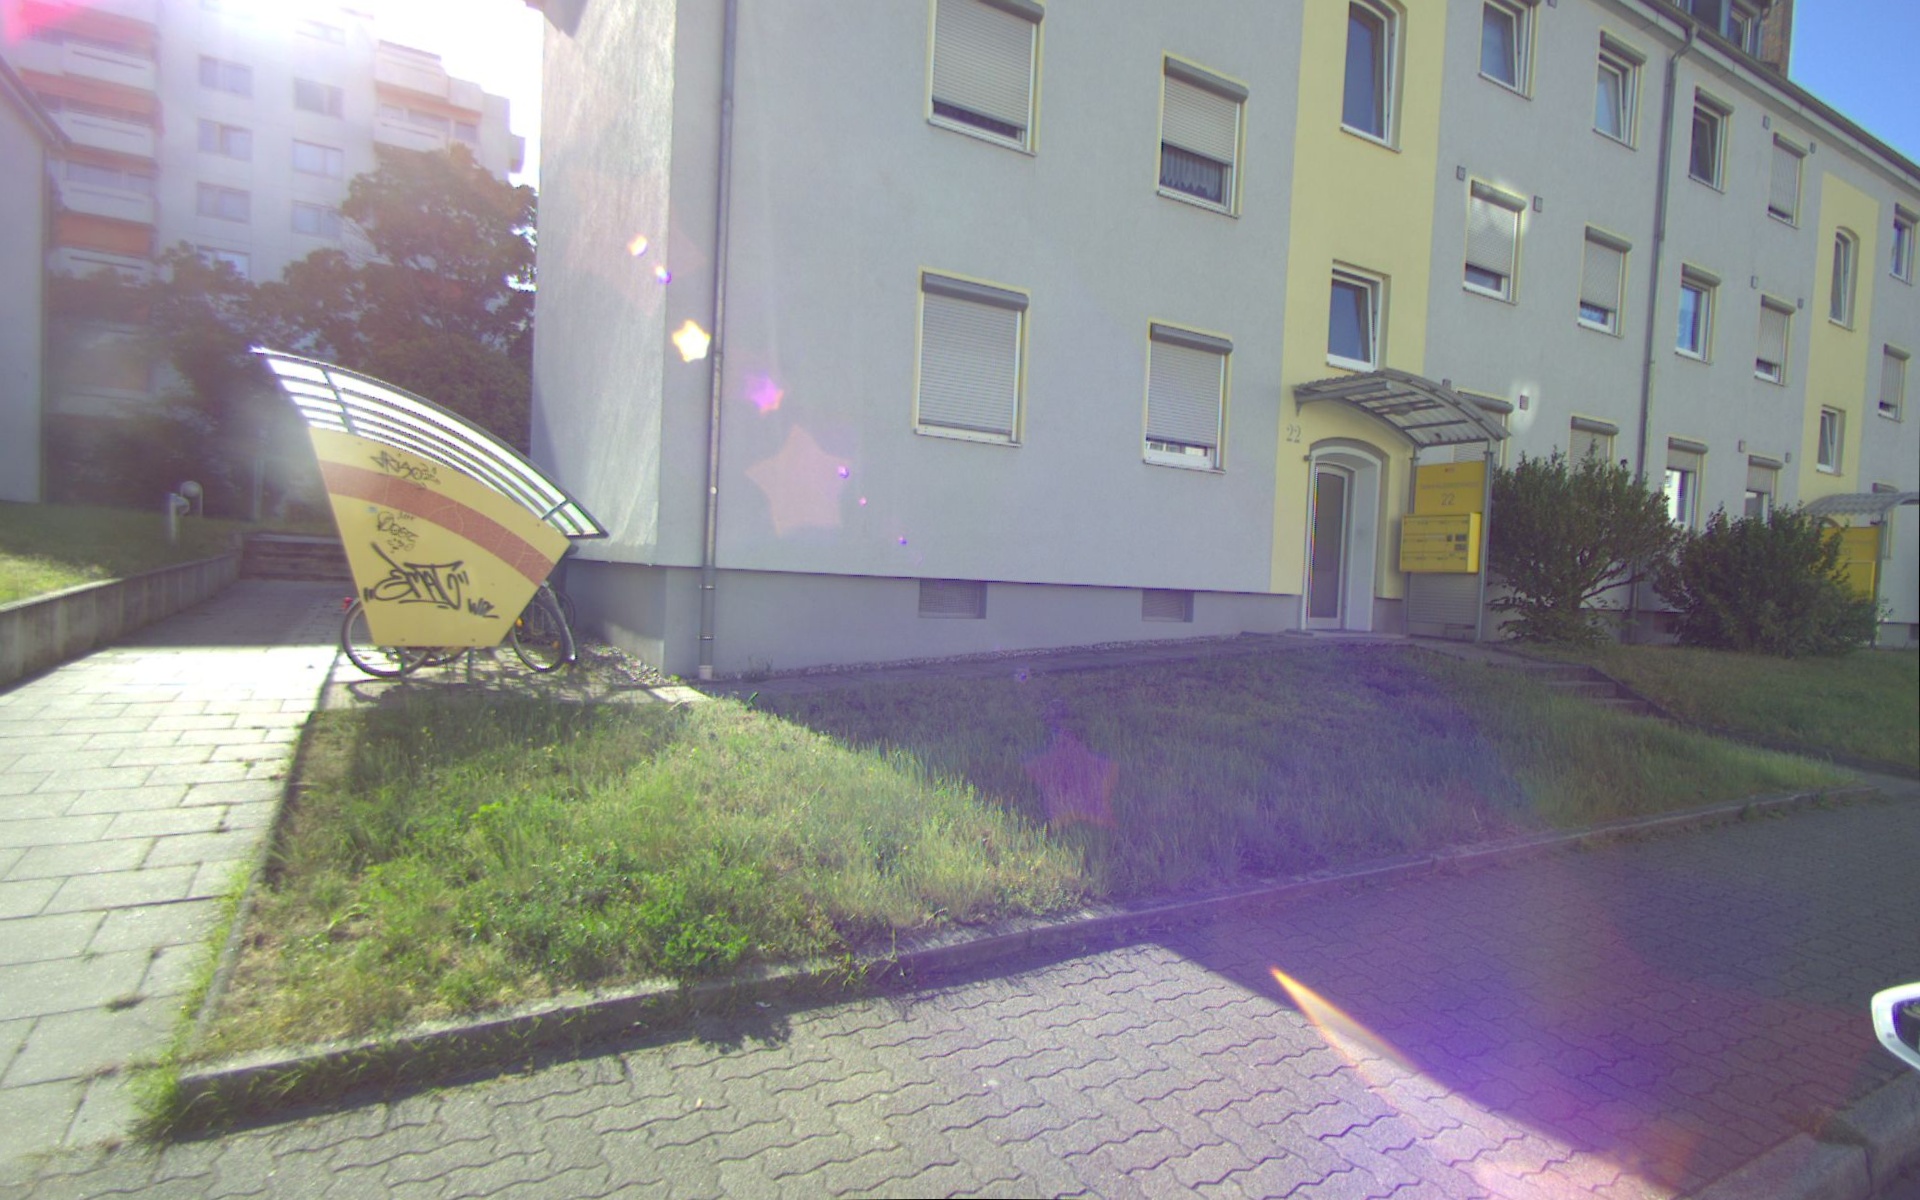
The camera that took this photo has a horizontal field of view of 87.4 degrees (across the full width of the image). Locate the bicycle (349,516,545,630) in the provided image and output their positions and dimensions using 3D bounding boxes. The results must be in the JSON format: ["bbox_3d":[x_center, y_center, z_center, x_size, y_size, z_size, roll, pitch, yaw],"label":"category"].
[{"bbox_3d":[-6.013,-0.300,11.840,1.986,1.235,0.637,1,3,-30],"label":"bicycle"}]

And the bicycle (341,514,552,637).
[{"bbox_3d":[-5.575,-0.247,10.977,1.986,1.235,0.637,1,3,-30],"label":"bicycle"}]

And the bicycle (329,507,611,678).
[{"bbox_3d":[-3.958,-0.048,8.207,1.986,1.267,0.637,1,3,-30],"label":"bicycle"}]

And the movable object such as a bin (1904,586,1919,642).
[{"bbox_3d":[25.166,0.386,25.802,0.803,1.425,1.079,1,3,-29],"label":"movable object such as a bin"}]

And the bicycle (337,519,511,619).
[{"bbox_3d":[-7.148,-0.397,13.461,1.986,1.235,0.637,1,3,-30],"label":"bicycle"}]

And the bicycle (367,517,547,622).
[{"bbox_3d":[-6.412,-0.372,12.854,1.986,1.235,0.637,1,3,-30],"label":"bicycle"}]

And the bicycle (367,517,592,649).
[{"bbox_3d":[-4.857,-0.153,10.206,1.986,1.235,0.674,1,3,-30],"label":"bicycle"}]

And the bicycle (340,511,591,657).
[{"bbox_3d":[-4.504,-0.128,9.230,1.986,1.235,0.637,1,3,-30],"label":"bicycle"}]
